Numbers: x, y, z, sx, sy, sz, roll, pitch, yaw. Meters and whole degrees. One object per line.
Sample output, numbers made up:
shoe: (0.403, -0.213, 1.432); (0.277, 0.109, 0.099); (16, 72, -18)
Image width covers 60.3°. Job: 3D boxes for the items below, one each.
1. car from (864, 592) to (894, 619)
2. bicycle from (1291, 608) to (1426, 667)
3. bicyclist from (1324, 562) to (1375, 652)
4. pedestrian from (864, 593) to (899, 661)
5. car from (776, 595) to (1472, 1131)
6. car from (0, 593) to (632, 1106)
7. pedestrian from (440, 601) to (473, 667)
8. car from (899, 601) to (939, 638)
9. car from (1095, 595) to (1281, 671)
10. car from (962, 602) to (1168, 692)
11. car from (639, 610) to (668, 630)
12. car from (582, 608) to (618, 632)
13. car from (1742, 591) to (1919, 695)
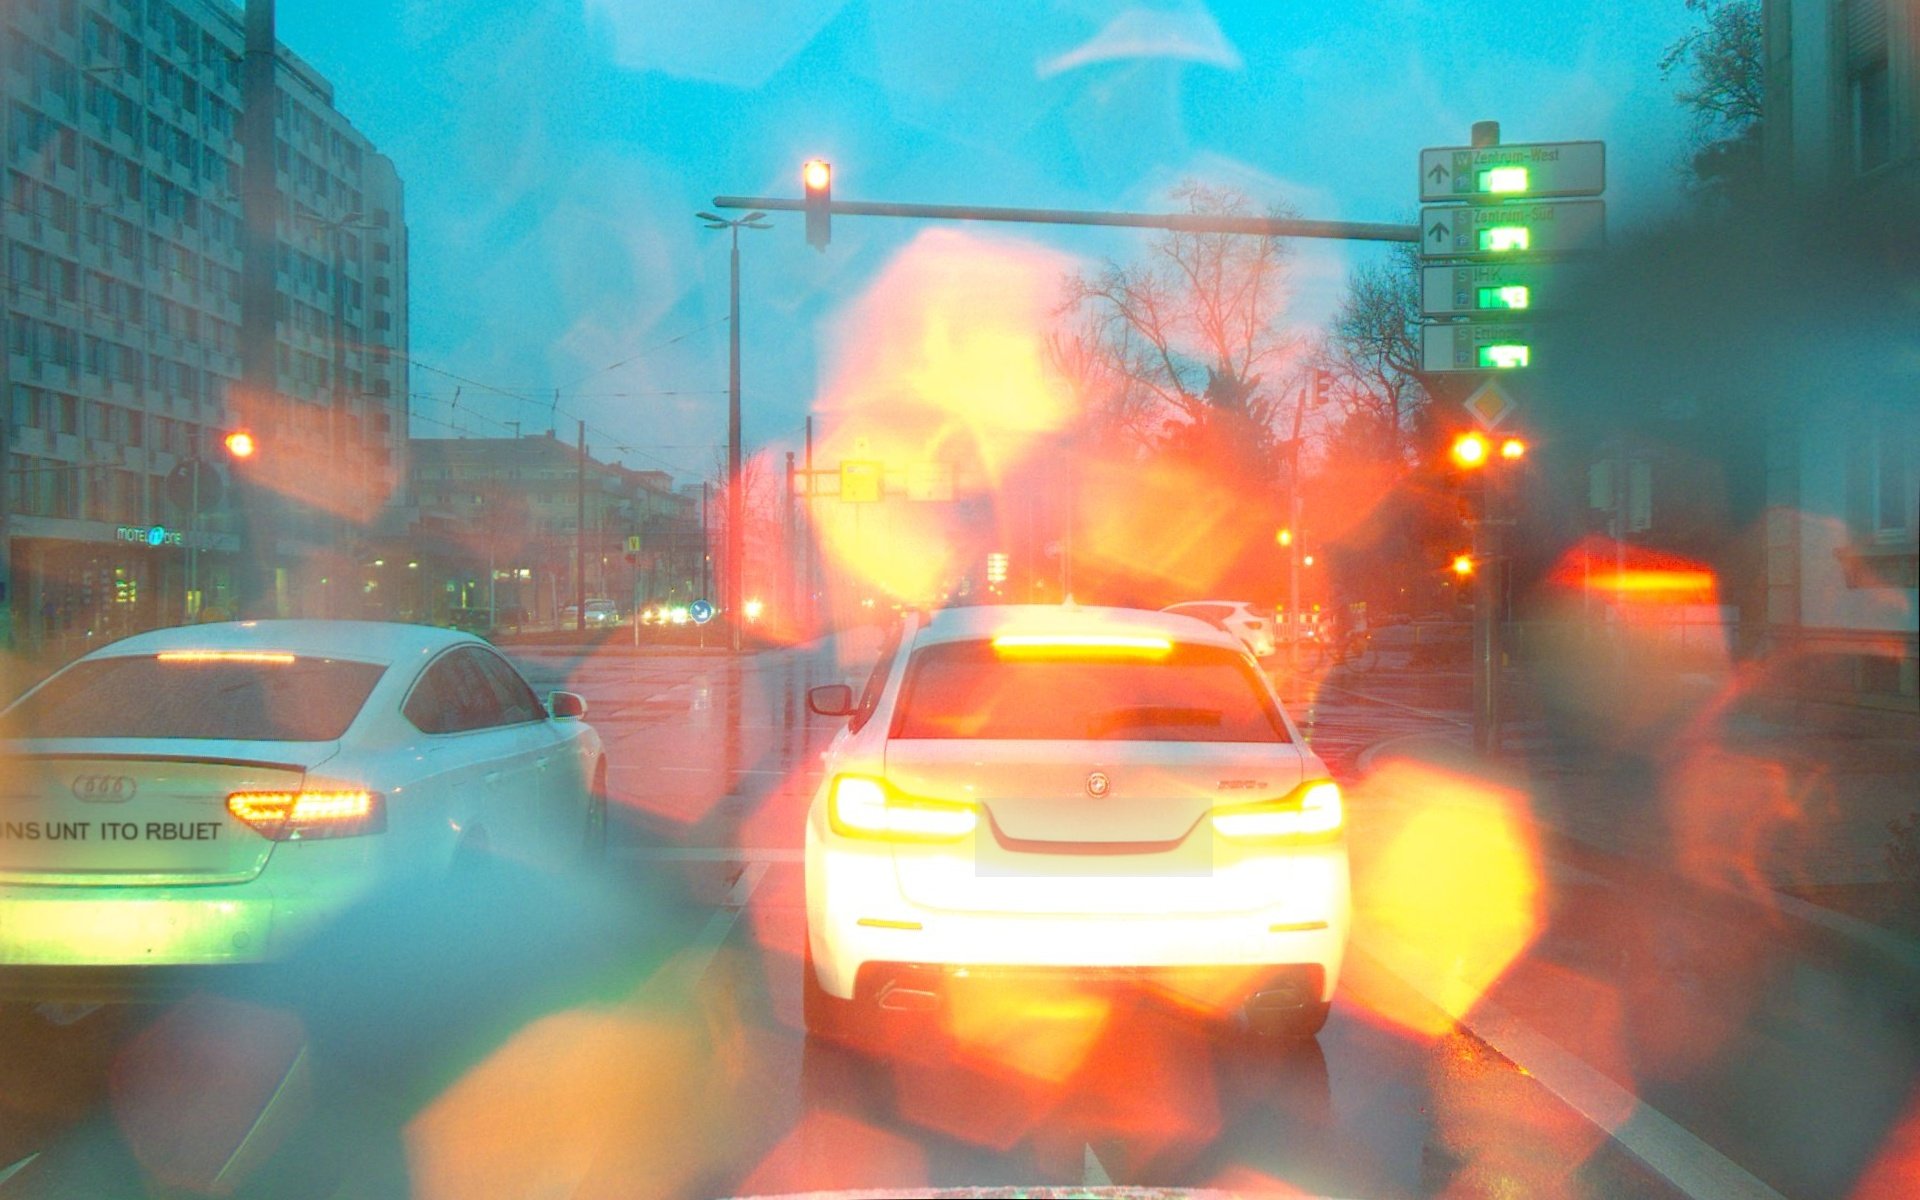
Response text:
car: (-5.198, 0.370, 106.416); (1.806, 1.637, 3.943); (1, -1, -2)
bicycle: (8.025, 0.744, 33.399); (2.610, 1.108, 0.815); (1, -1, 12)
bicyclist: (7.866, 0.143, 33.453); (0.951, 1.789, 0.814); (1, -1, 11)
pedestrian: (-2.202, 0.764, 46.745); (0.884, 1.888, 0.812); (1, -1, 1)
car: (0.372, 0.728, 6.814); (1.954, 1.481, 4.366); (0, 0, -3)
car: (-2.710, 0.719, 6.986); (1.954, 1.481, 4.366); (0, 0, -3)
pedestrian: (-13.423, 0.910, 44.132); (0.777, 1.741, 0.809); (2, -1, -16)
car: (-1.907, 0.903, 76.531); (1.806, 1.637, 3.943); (1, -1, -2)
car: (5.151, 0.727, 37.290); (3.873, 1.581, 1.749); (1, -1, 20)
car: (1.957, 0.852, 30.427); (3.609, 1.504, 1.630); (1, -1, 9)
car: (-24.508, 1.626, 132.219); (1.641, 1.534, 3.695); (1, -1, -1)
car: (-24.311, 1.353, 111.885); (1.641, 1.534, 3.695); (1, -1, -1)
car: (15.414, 0.732, 27.809); (3.904, 1.651, 1.720); (1, -1, 19)
